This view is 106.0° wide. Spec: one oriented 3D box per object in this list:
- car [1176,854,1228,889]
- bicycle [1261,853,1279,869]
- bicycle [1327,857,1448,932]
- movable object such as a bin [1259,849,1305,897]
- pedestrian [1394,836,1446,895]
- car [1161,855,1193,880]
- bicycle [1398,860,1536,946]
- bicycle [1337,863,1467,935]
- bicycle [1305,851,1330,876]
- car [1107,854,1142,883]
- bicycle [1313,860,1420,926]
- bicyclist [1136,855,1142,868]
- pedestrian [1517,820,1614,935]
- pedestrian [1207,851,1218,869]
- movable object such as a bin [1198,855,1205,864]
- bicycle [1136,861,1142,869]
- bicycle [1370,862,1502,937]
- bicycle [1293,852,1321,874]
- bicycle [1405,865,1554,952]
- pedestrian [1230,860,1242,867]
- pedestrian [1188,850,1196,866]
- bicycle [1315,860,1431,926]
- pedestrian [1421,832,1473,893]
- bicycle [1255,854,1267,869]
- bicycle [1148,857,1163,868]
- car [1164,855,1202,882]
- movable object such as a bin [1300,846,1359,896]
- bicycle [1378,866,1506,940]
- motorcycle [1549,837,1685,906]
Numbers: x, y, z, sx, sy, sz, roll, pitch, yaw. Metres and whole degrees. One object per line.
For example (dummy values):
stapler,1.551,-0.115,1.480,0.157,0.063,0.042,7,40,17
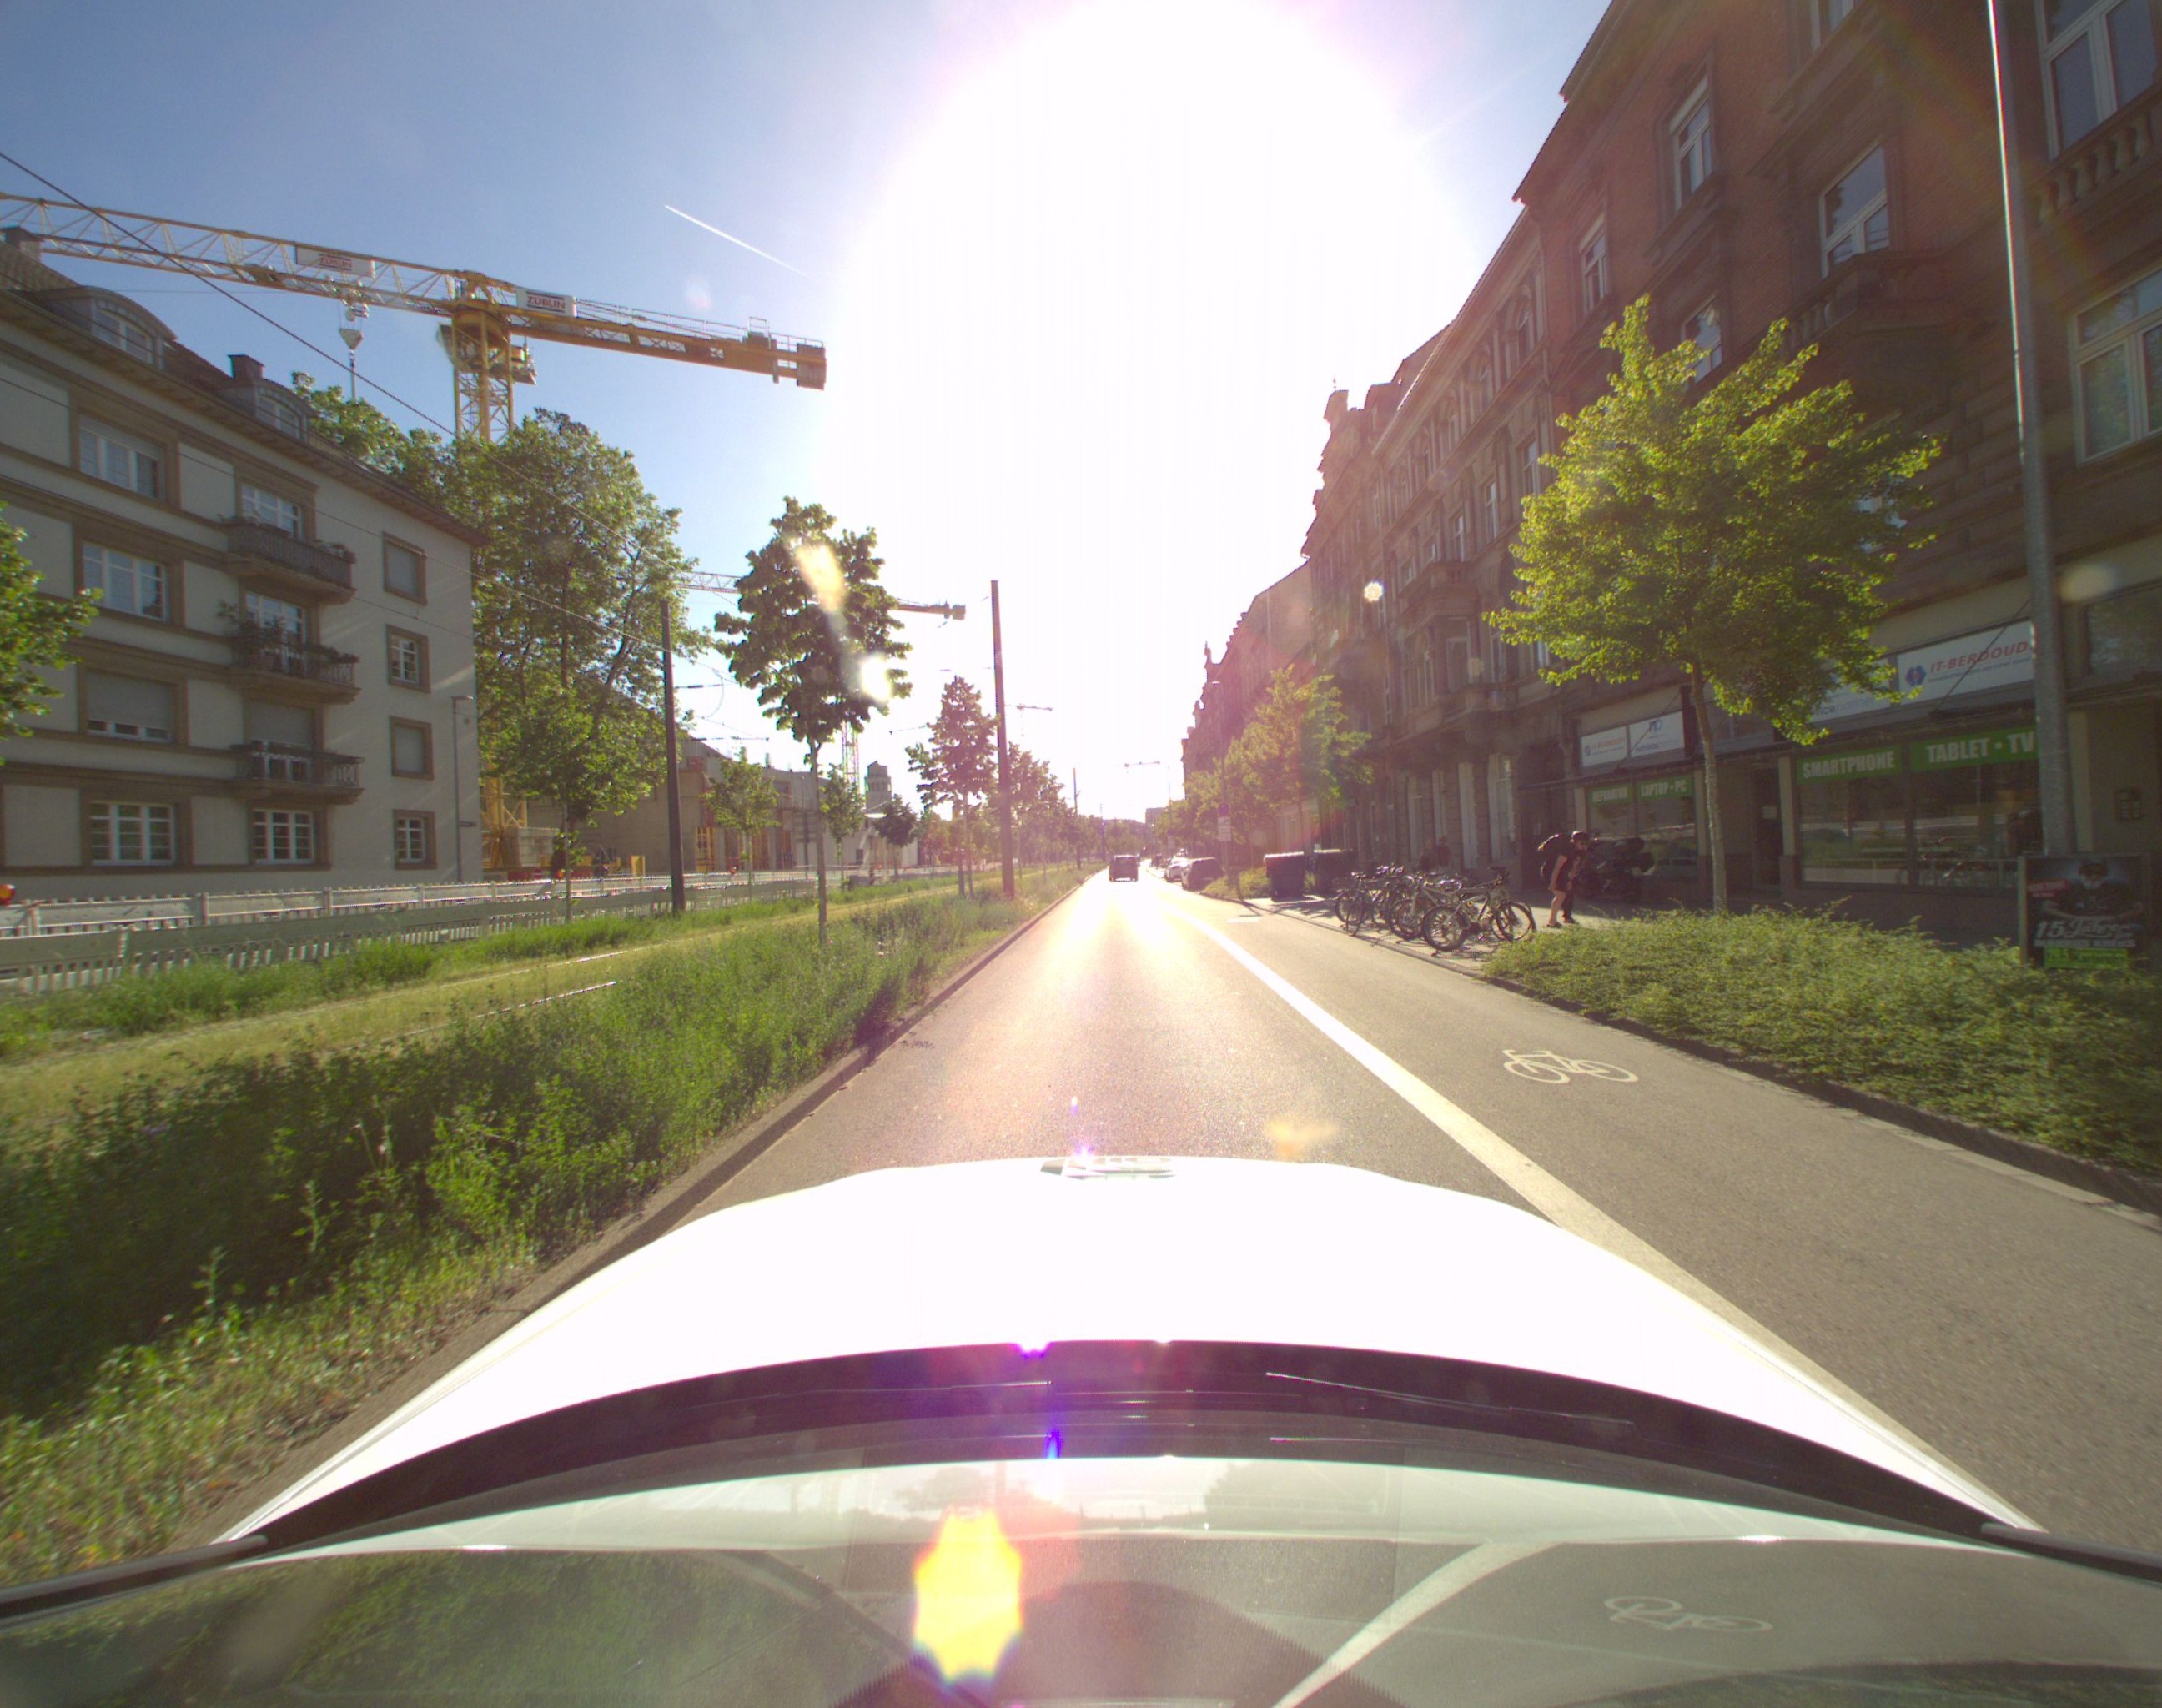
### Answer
car,5.868,0.868,39.950,1.760,1.477,4.447,-5,-1,0
bicycle,13.033,0.472,56.225,0.718,1.090,2.200,-4,-1,3
bicycle,5.767,0.745,15.312,2.148,1.154,0.428,-6,0,-12
movable object such as a bin,6.664,0.611,27.036,1.264,1.463,1.647,-2,2,7
pedestrian,9.524,0.321,22.920,0.947,1.566,1.080,-4,0,2
car,6.971,0.983,59.379,1.877,1.569,4.222,-5,-1,2
bicycle,5.827,0.731,12.336,1.860,1.179,0.373,-3,-1,-1
bicycle,5.896,0.813,14.963,2.287,1.102,0.484,-4,-1,-13
bicycle,12.183,0.482,42.036,0.745,1.201,1.802,-4,-1,2
car,3.102,1.038,58.360,1.990,2.014,3.994,-2,-1,-4
bicycle,5.875,0.787,16.802,1.970,1.124,0.481,-6,0,-4
bicyclist,7.623,0.994,107.476,0.680,1.584,0.840,-2,-1,2
pedestrian,7.862,0.376,13.241,0.852,1.735,0.894,-6,-1,-29
pedestrian,12.853,0.581,79.631,0.992,1.731,0.866,-2,-1,2
movable object such as a bin,15.021,0.664,101.562,0.723,1.098,0.747,-2,0,-2
bicycle,7.631,1.437,107.295,0.698,1.091,2.278,-2,0,2
bicycle,5.995,0.762,13.794,1.971,1.108,0.435,-4,-1,-1
bicycle,12.490,0.493,45.095,0.873,1.105,2.181,-6,-1,0
bicycle,5.836,0.783,11.980,1.887,1.108,0.517,-4,-1,-3
pedestrian,13.916,0.878,73.037,0.770,0.553,2.008,-3,0,2
pedestrian,14.342,0.557,105.381,0.814,2.014,1.047,-2,-1,2
bicycle,5.864,0.778,16.394,2.040,1.107,0.610,-5,-1,-4
pedestrian,10.431,0.225,23.251,0.967,1.639,0.993,-4,0,2
bicycle,13.363,0.549,60.595,0.479,1.090,2.058,-4,-1,3
bicycle,10.044,1.133,109.968,1.875,1.233,0.499,-5,-1,-4
car,6.539,0.925,52.650,1.944,1.495,5.108,-4,-1,3
movable object such as a bin,8.260,0.566,27.165,1.368,1.495,1.750,-5,-1,3
bicycle,5.939,0.791,13.451,1.811,1.056,0.571,-4,-1,-4
motorcycle,10.799,0.347,16.600,0.862,1.266,2.983,-2,-1,2
